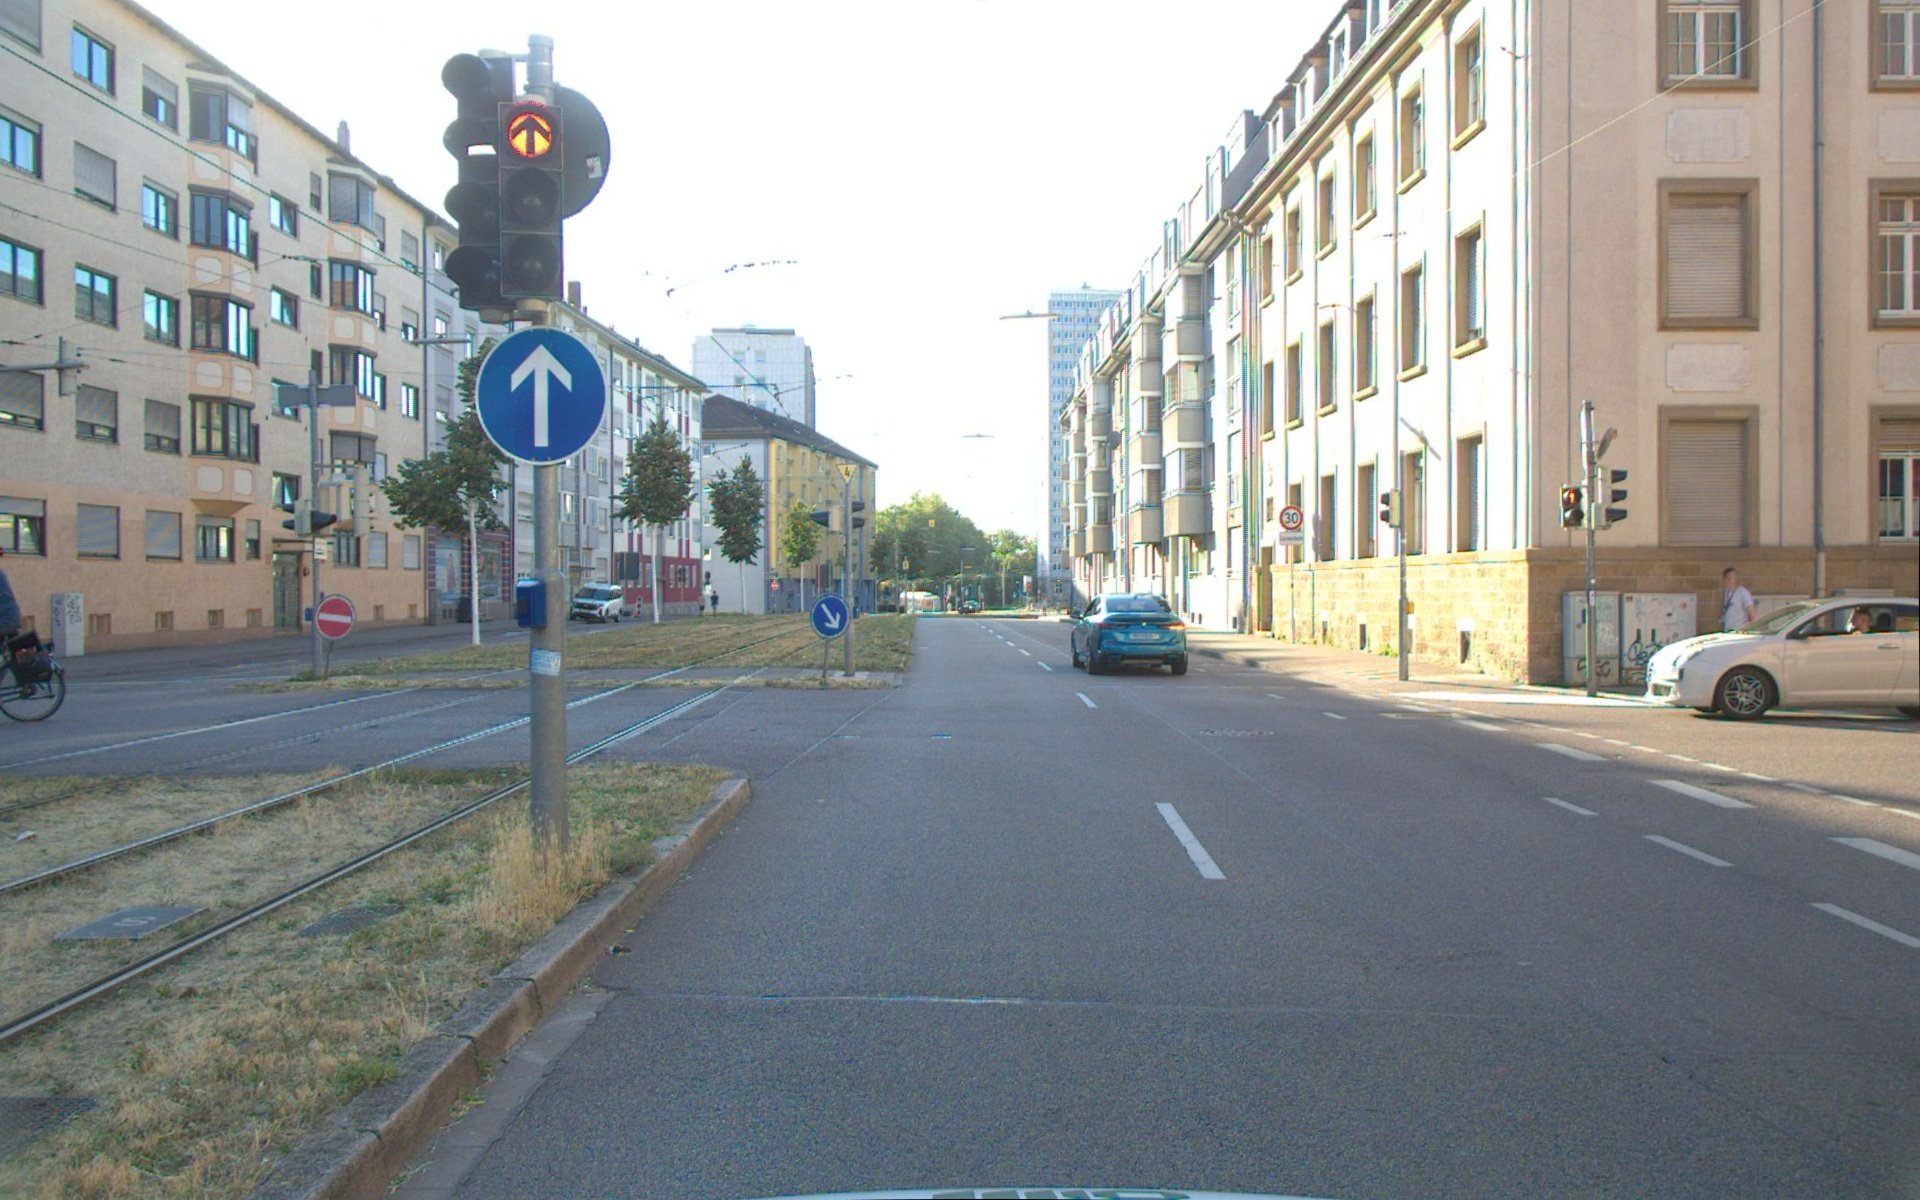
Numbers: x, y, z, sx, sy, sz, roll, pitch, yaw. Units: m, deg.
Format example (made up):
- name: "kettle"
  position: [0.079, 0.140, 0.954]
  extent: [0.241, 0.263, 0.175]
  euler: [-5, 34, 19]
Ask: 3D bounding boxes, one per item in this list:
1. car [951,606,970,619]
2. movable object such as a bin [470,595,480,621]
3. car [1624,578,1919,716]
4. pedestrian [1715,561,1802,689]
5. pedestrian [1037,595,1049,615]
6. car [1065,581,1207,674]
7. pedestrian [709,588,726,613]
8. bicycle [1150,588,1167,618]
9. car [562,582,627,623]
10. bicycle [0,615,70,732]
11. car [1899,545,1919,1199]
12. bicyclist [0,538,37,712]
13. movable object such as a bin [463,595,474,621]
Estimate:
- name: "car"
  position: [0.062, 1.596, 212.218]
  extent: [1.857, 1.662, 4.751]
  euler: [-1, 0, 7]
- name: "movable object such as a bin"
  position: [-20.103, 0.337, 68.557]
  extent: [0.292, 1.054, 0.441]
  euler: [1, -1, -2]
- name: "car"
  position: [10.396, 0.546, 20.139]
  extent: [3.902, 1.591, 2.001]
  euler: [0, 0, 7]
- name: "pedestrian"
  position: [11.423, 0.350, 23.676]
  extent: [0.818, 1.793, 0.824]
  euler: [1, -1, -1]
- name: "pedestrian"
  position: [5.149, 0.302, 103.047]
  extent: [0.677, 1.256, 0.736]
  euler: [1, 0, 0]
- name: "car"
  position: [3.184, 0.479, 30.812]
  extent: [1.954, 1.581, 4.391]
  euler: [1, 0, -3]
- name: "pedestrian"
  position: [-16.728, 0.036, 114.213]
  extent: [0.942, 1.699, 1.011]
  euler: [1, 0, 4]
- name: "bicycle"
  position: [7.445, 0.120, 62.012]
  extent: [0.376, 1.115, 1.503]
  euler: [-1, 0, -3]
- name: "car"
  position: [-17.907, 0.136, 81.306]
  extent: [1.952, 1.958, 4.543]
  euler: [1, 0, 3]
- name: "bicycle"
  position: [-11.001, 0.820, 18.437]
  extent: [1.836, 1.279, 0.454]
  euler: [0, 1, -19]
- name: "car"
  position: [2.868, 0.712, 1.417]
  extent: [1.663, 1.580, 4.225]
  euler: [2, 0, -1]
- name: "bicyclist"
  position: [-10.862, 0.274, 18.461]
  extent: [0.793, 1.915, 0.650]
  euler: [-1, 2, -16]
- name: "movable object such as a bin"
  position: [-20.235, 0.345, 68.038]
  extent: [0.292, 1.054, 0.441]
  euler: [1, -1, 2]
